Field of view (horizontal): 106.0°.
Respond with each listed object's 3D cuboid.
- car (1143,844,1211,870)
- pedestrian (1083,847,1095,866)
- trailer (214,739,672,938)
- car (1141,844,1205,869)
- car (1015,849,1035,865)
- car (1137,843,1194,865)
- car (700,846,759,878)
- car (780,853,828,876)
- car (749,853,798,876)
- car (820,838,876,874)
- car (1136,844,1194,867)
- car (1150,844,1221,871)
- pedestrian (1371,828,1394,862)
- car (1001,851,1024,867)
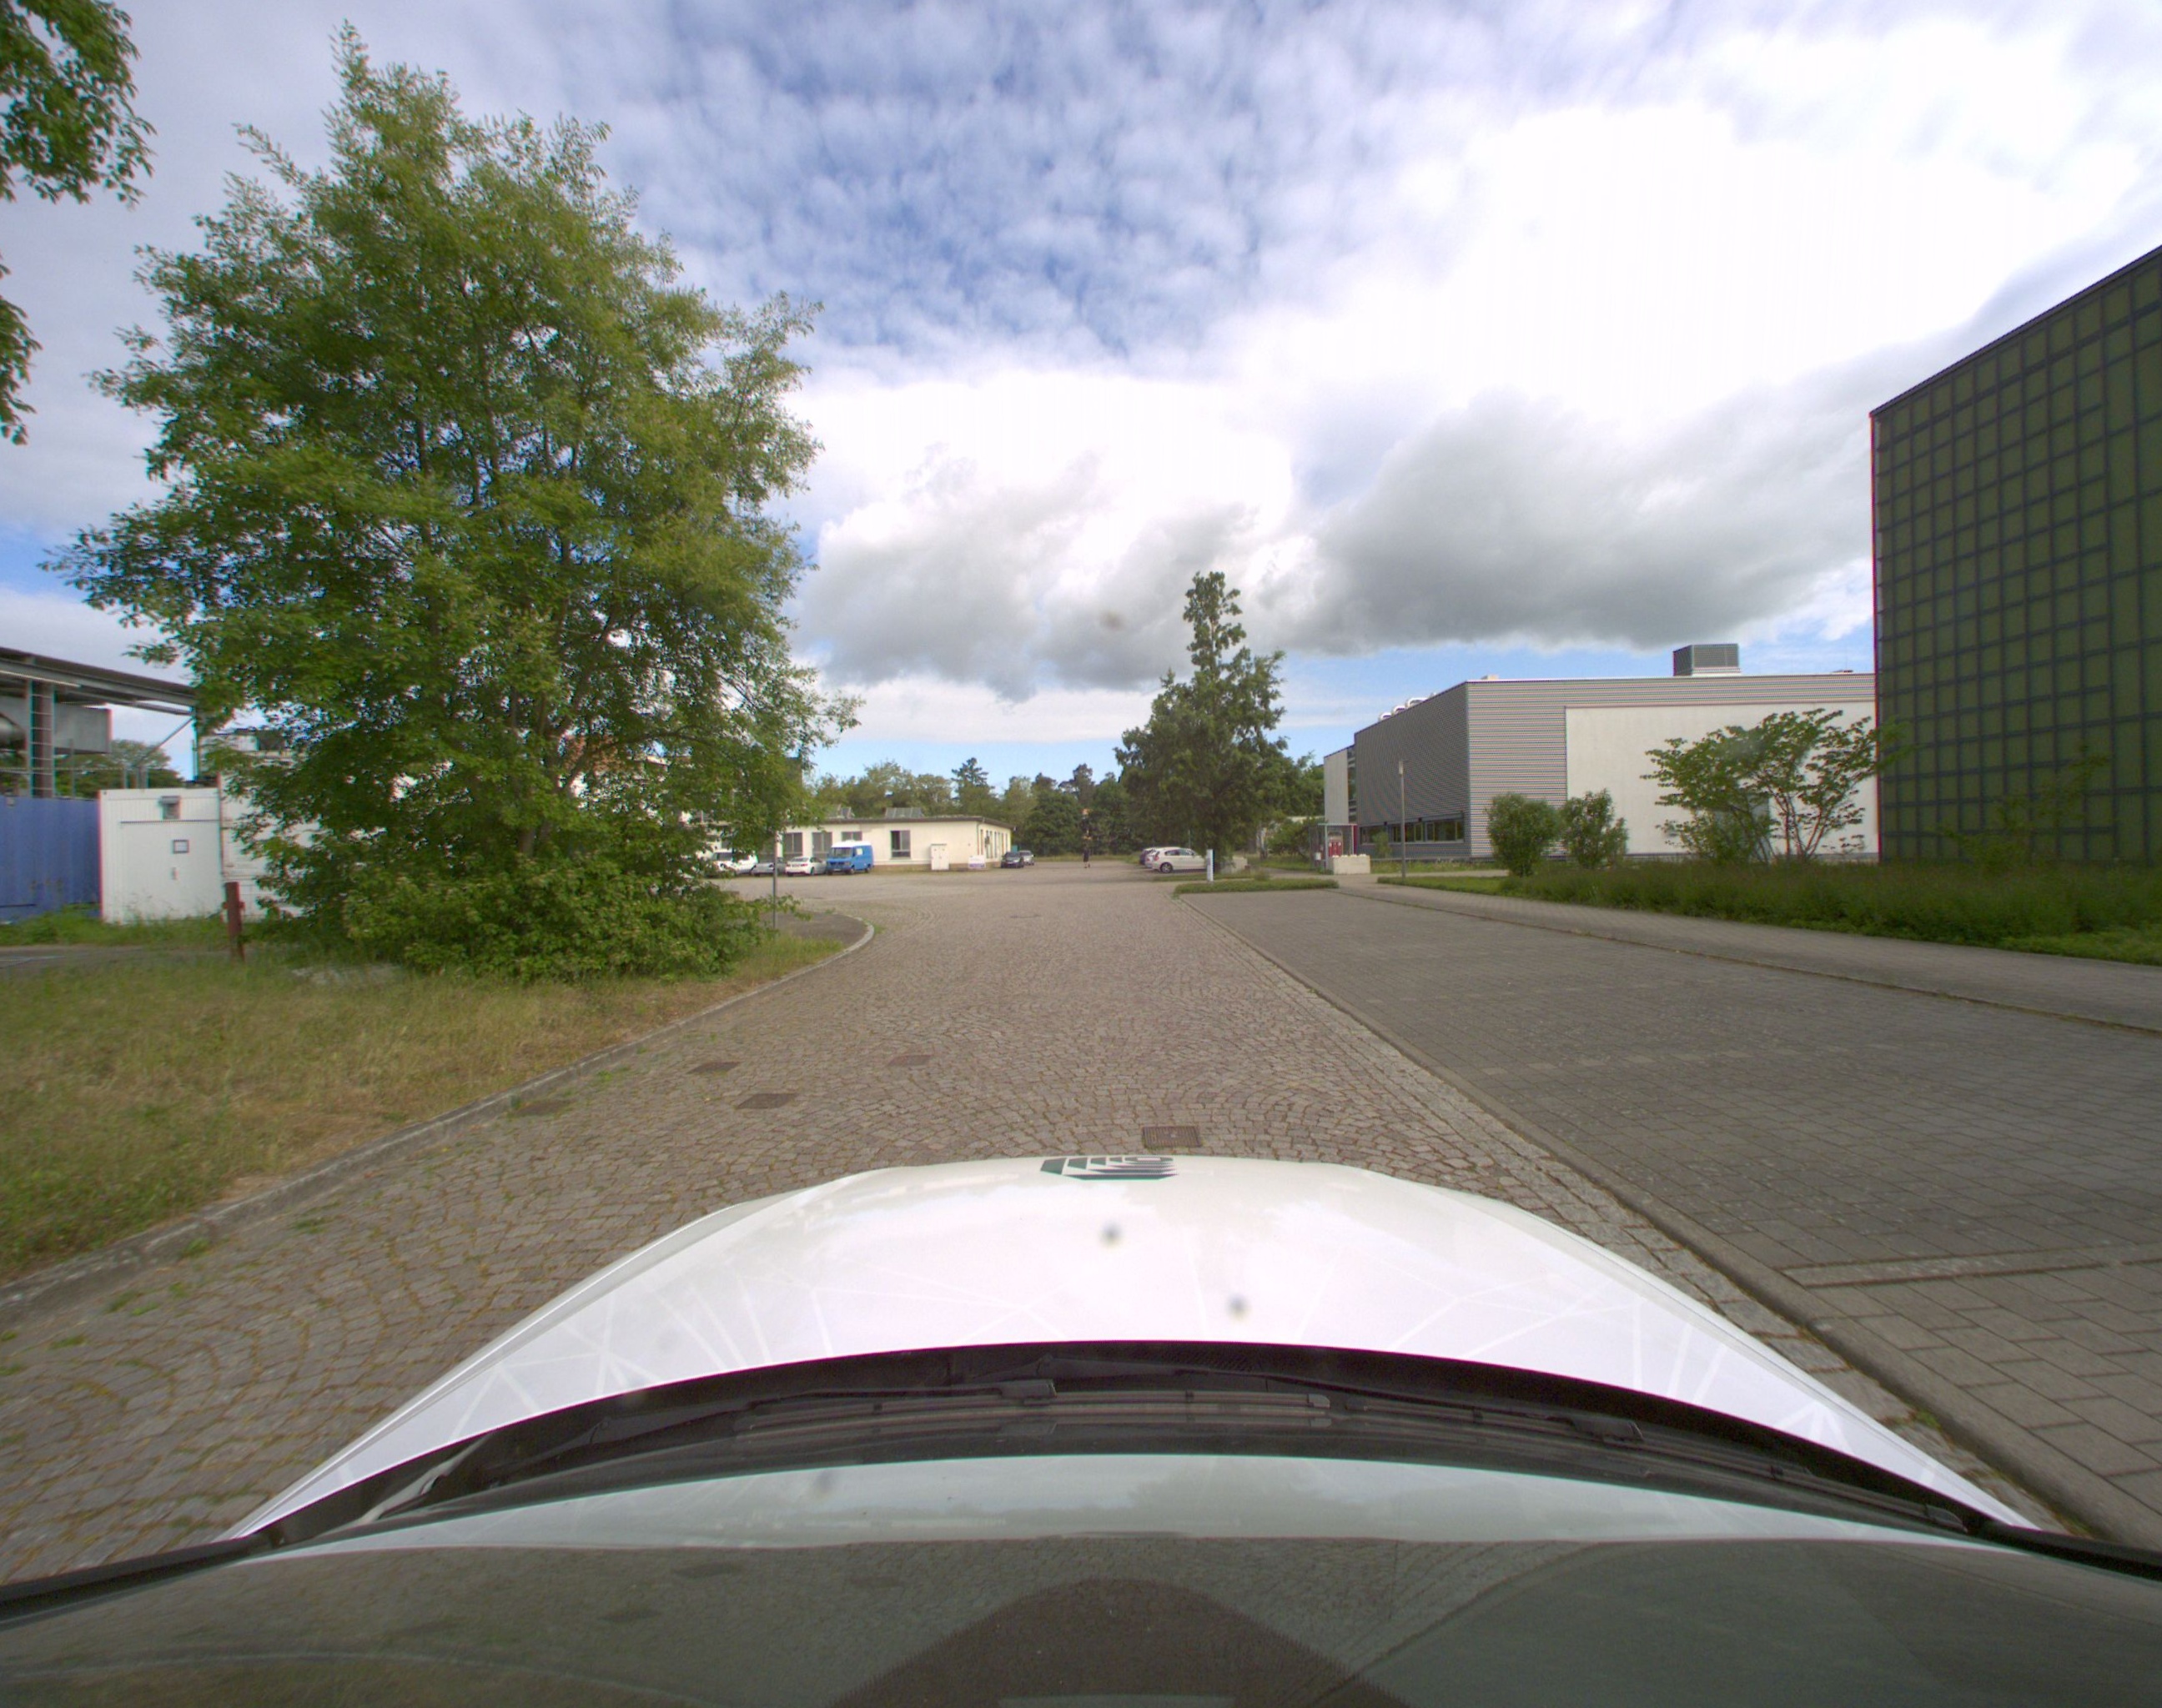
[{"bbox_3d":[5.825,0.184,49.829,3.972,1.455,1.698,-2,0,1],"label":"car"},{"bbox_3d":[0.668,0.243,68.675,0.938,1.568,0.970,-2,0,-4],"label":"pedestrian"},{"bbox_3d":[-14.861,-0.325,20.874,2.645,3.705,10.733,-2,0,4],"label":"trailer"},{"bbox_3d":[5.962,0.170,52.869,3.972,1.455,1.770,-2,0,1],"label":"car"},{"bbox_3d":[-5.625,0.299,82.049,1.744,1.454,3.998,-2,0,-1],"label":"car"},{"bbox_3d":[6.320,0.016,60.986,3.977,1.533,1.998,-2,0,-3],"label":"car"},{"bbox_3d":[-25.709,0.578,59.739,1.892,2.206,4.788,-2,0,4],"label":"car"},{"bbox_3d":[-20.054,0.719,59.158,1.893,1.575,4.003,-2,0,3],"label":"car"},{"bbox_3d":[-22.684,0.766,60.177,1.893,1.575,4.003,-2,0,3],"label":"car"},{"bbox_3d":[-17.181,0.124,60.391,1.984,2.523,5.625,-2,0,5],"label":"car"},{"bbox_3d":[5.912,0.104,57.775,3.972,1.455,1.770,-2,0,1],"label":"car"},{"bbox_3d":[6.063,0.212,47.656,3.972,1.455,2.001,-1,-1,1],"label":"car"},{"bbox_3d":[17.752,-0.519,47.945,0.922,1.936,0.847,-1,0,-29],"label":"pedestrian"},{"bbox_3d":[-6.011,0.408,71.819,1.744,1.364,3.998,-2,0,-1],"label":"car"}]
